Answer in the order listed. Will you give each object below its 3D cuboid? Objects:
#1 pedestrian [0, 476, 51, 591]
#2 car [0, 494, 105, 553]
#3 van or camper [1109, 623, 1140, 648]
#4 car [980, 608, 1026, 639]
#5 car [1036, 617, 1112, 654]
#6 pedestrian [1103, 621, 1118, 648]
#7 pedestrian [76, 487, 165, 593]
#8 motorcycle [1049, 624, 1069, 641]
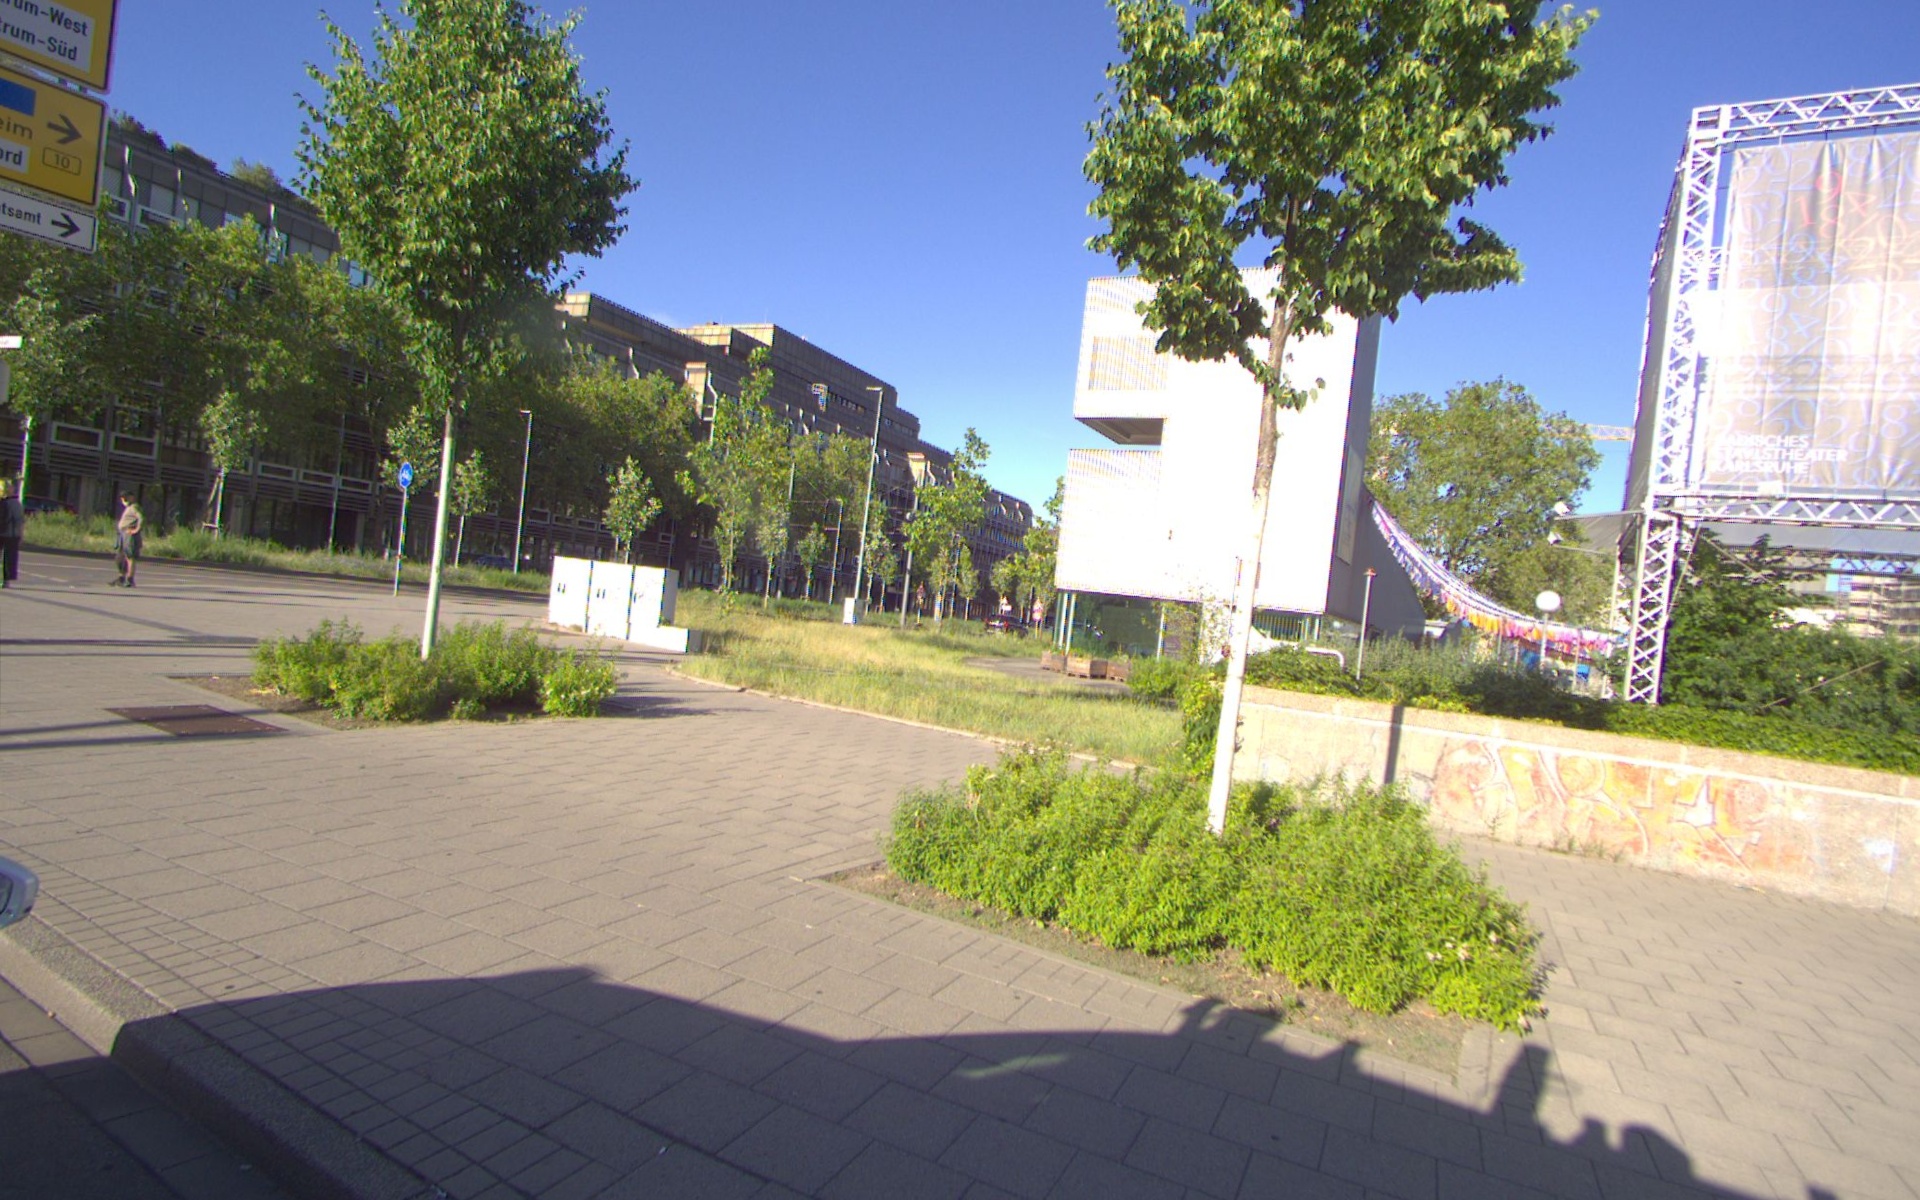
[{"bbox_3d":[-14.244,-1.012,14.943,0.859,1.634,0.767,7,1,30],"label":"pedestrian"},{"bbox_3d":[-33.268,-2.789,35.465,1.792,1.704,4.302,7,-1,21],"label":"car"},{"bbox_3d":[15.830,3.445,96.593,1.969,2.038,4.844,7,-1,19],"label":"van or camper"},{"bbox_3d":[3.144,1.741,72.211,1.851,1.886,4.833,7,-1,18],"label":"car"},{"bbox_3d":[7.754,2.404,67.988,5.284,1.845,1.827,9,-2,-40],"label":"car"},{"bbox_3d":[9.125,2.114,61.168,0.520,1.571,0.638,7,-1,31],"label":"pedestrian"},{"bbox_3d":[-14.911,-1.057,17.880,0.755,1.728,0.873,7,1,30],"label":"pedestrian"},{"bbox_3d":[8.174,2.726,83.119,0.716,1.223,2.602,8,0,24],"label":"motorcycle"}]
